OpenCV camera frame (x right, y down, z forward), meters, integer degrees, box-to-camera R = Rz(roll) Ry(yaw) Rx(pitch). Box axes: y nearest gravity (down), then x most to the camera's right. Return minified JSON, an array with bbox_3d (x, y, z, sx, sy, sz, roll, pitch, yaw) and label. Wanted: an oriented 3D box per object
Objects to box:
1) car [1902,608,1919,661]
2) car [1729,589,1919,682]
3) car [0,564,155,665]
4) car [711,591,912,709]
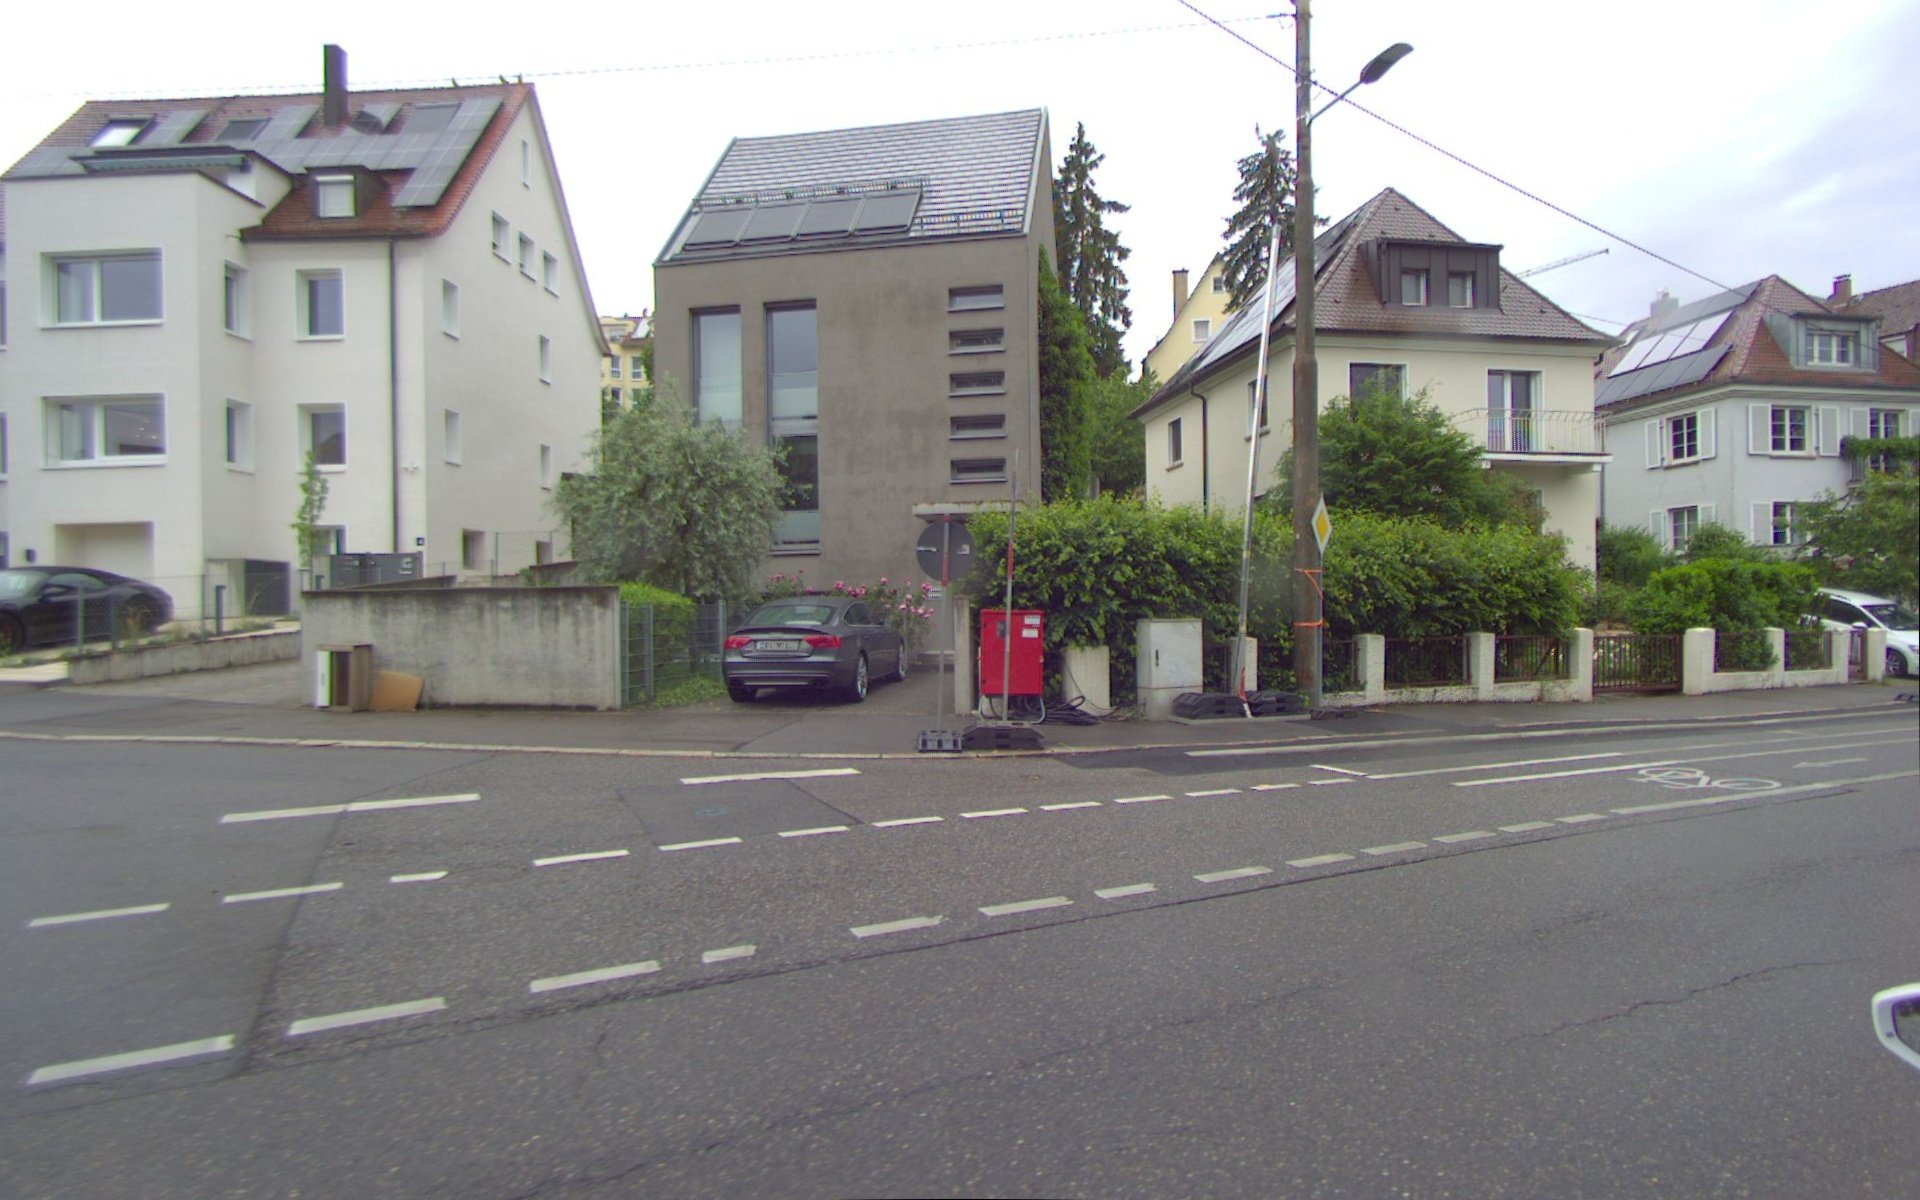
[{"bbox_3d":[28.193,1.028,26.893,1.732,1.505,3.984,3,0,-18],"label":"car"},{"bbox_3d":[21.257,0.799,24.262,1.801,2.040,3.985,1,-1,-17],"label":"car"},{"bbox_3d":[-15.326,0.212,16.039,1.700,1.528,3.820,1,0,3],"label":"car"},{"bbox_3d":[-1.965,0.627,14.526,1.802,1.463,4.002,0,0,8],"label":"car"}]
